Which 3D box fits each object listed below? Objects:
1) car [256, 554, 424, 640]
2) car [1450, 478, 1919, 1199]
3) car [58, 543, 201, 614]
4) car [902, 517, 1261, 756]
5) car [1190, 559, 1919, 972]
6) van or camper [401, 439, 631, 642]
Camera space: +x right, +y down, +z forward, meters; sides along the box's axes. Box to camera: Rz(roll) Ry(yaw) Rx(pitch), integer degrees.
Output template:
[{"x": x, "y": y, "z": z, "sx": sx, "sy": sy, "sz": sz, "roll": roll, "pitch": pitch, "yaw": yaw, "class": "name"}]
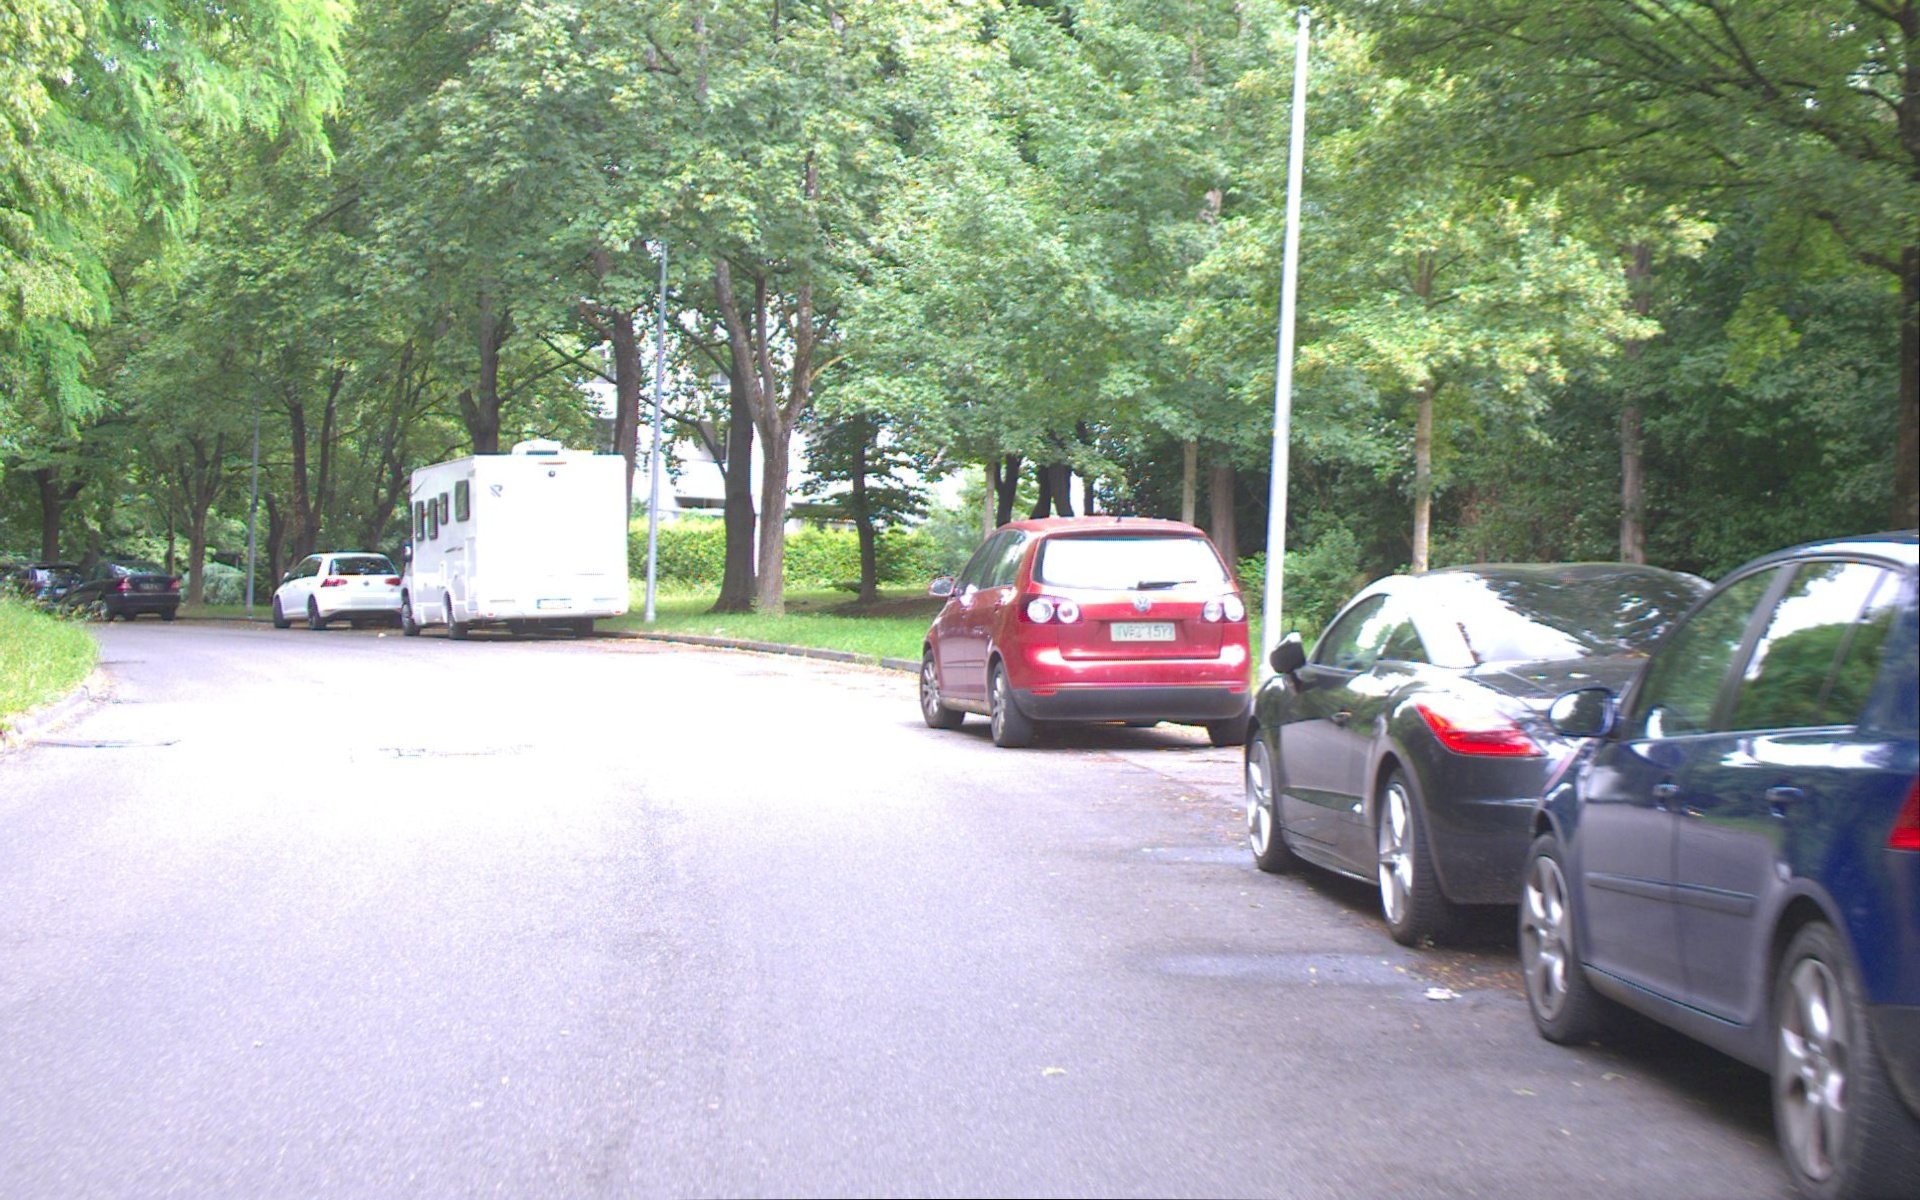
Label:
[{"x": -11.922, "y": -0.071, "z": 65.962, "sx": 1.993, "sy": 1.468, "sz": 4.001, "roll": 2, "pitch": 1, "yaw": -28, "class": "car"}, {"x": 2.552, "y": 0.521, "z": 8.904, "sx": 1.714, "sy": 1.504, "sz": 4.181, "roll": 2, "pitch": 1, "yaw": -3, "class": "car"}, {"x": -19.534, "y": -0.509, "z": 80.779, "sx": 1.993, "sy": 1.495, "sz": 4.000, "roll": 2, "pitch": 1, "yaw": -33, "class": "car"}, {"x": 0.771, "y": 0.213, "z": 24.517, "sx": 1.738, "sy": 1.557, "sz": 4.001, "roll": 0, "pitch": 1, "yaw": -10, "class": "car"}, {"x": 2.167, "y": 0.532, "z": 13.663, "sx": 1.750, "sy": 1.332, "sz": 4.416, "roll": 1, "pitch": 1, "yaw": -6, "class": "car"}, {"x": -6.994, "y": -0.964, "z": 53.627, "sx": 2.428, "sy": 2.997, "sz": 5.211, "roll": -1, "pitch": 2, "yaw": -20, "class": "van or camper"}]
